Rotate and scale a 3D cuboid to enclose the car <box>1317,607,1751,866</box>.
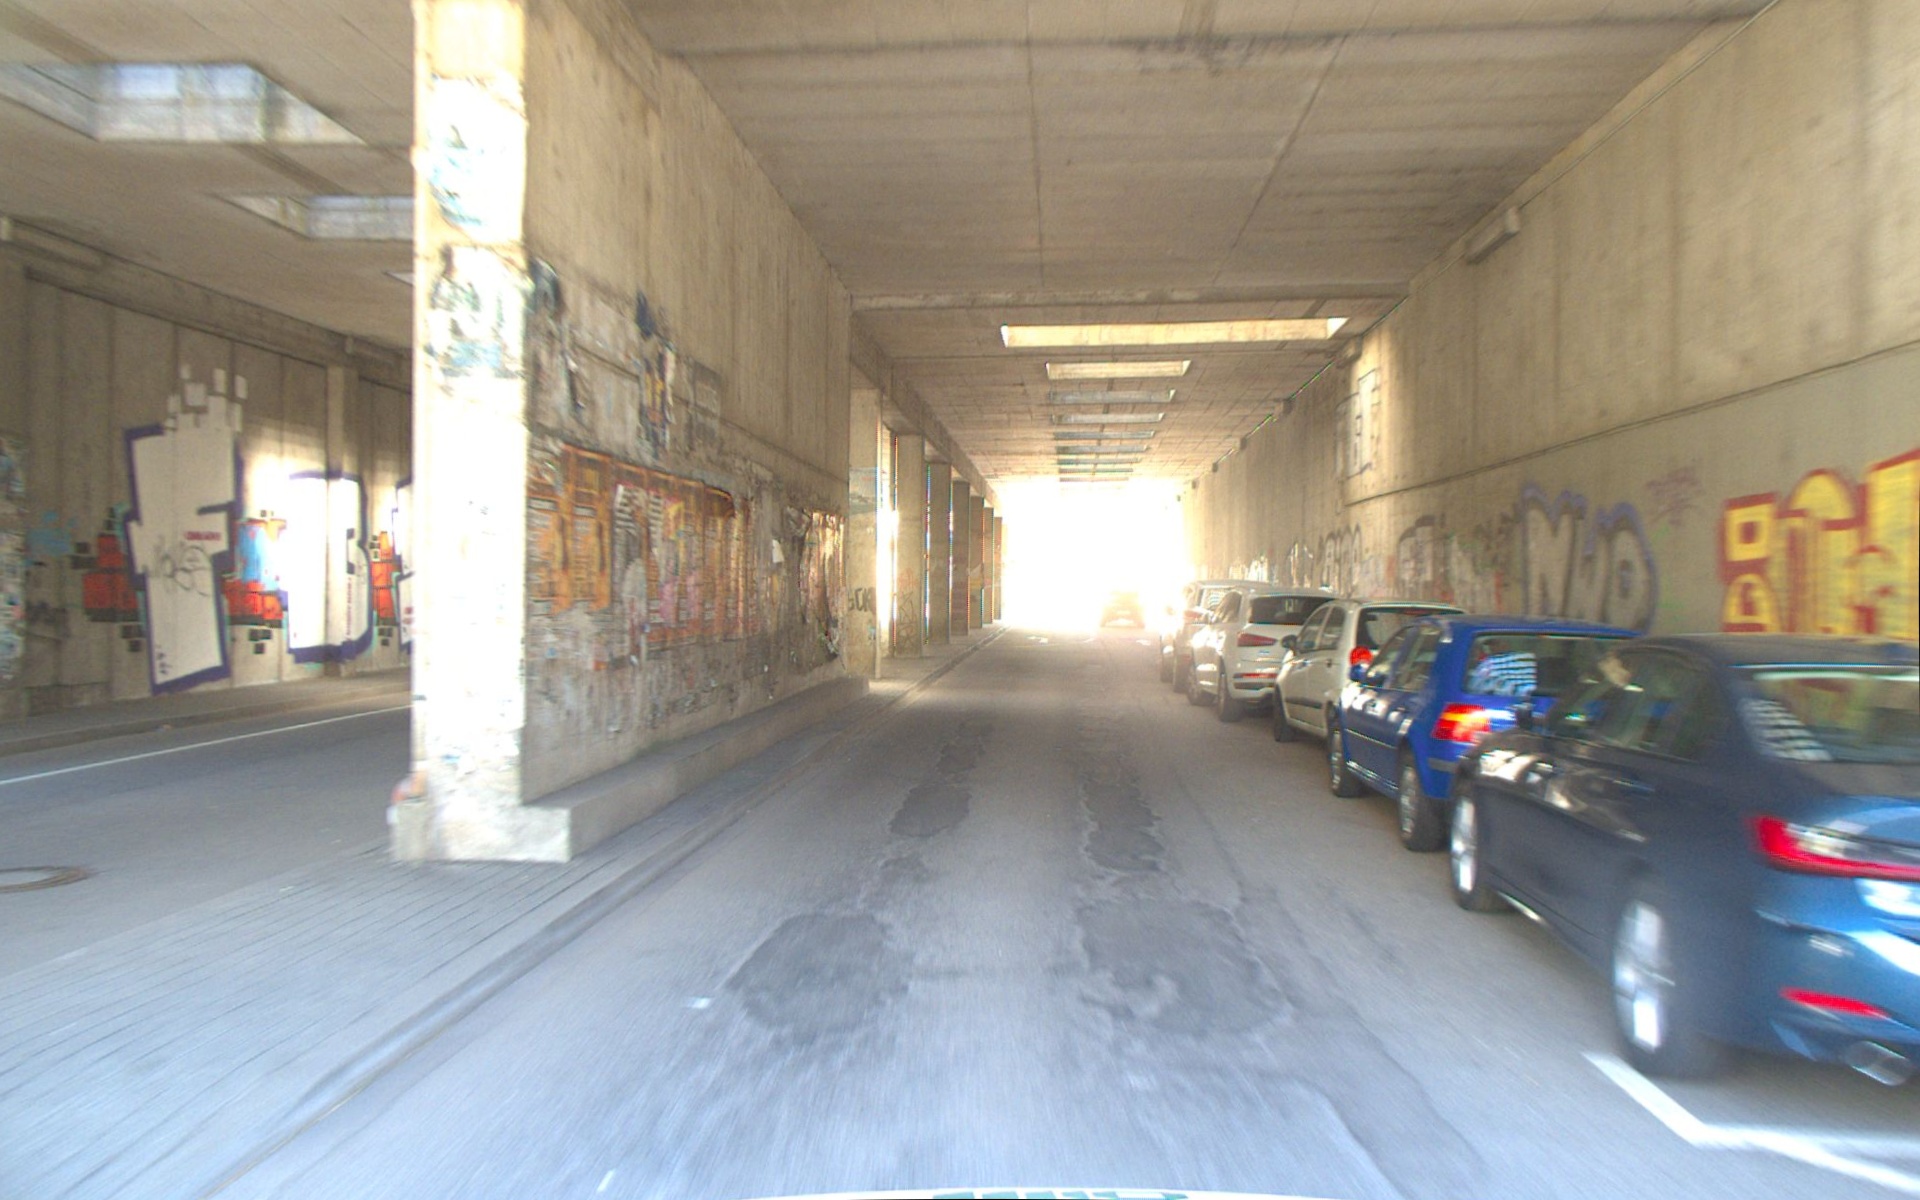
[{"bbox_3d":[3.664,0.772,11.336,1.724,1.435,4.064,0,0,3],"label":"car"}]

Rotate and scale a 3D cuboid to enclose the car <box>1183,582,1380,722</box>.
[{"bbox_3d":[3.893,0.590,20.675,1.694,1.573,4.156,0,0,0],"label":"car"}]

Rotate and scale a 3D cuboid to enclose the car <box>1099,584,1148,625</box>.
[{"bbox_3d":[6.314,0.153,64.030,1.787,1.527,4.213,0,0,4],"label":"car"}]

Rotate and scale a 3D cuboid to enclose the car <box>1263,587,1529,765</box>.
[{"bbox_3d":[4.071,0.656,16.000,1.571,1.513,3.637,0,0,-1],"label":"car"}]

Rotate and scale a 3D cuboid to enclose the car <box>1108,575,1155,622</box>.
[{"bbox_3d":[7.239,-0.076,70.144,1.777,1.915,4.588,0,0,4],"label":"car"}]

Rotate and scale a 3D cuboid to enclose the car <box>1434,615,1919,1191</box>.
[{"bbox_3d":[3.273,0.834,6.549,1.812,1.458,4.610,2,0,5],"label":"car"}]

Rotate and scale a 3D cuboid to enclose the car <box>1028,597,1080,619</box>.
[{"bbox_3d":[7.236,0.595,127.177,3.902,1.601,1.641,1,0,8],"label":"car"}]

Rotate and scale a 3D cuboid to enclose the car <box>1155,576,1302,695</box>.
[{"bbox_3d":[4.147,0.482,26.137,1.814,1.695,4.373,1,1,3],"label":"car"}]
